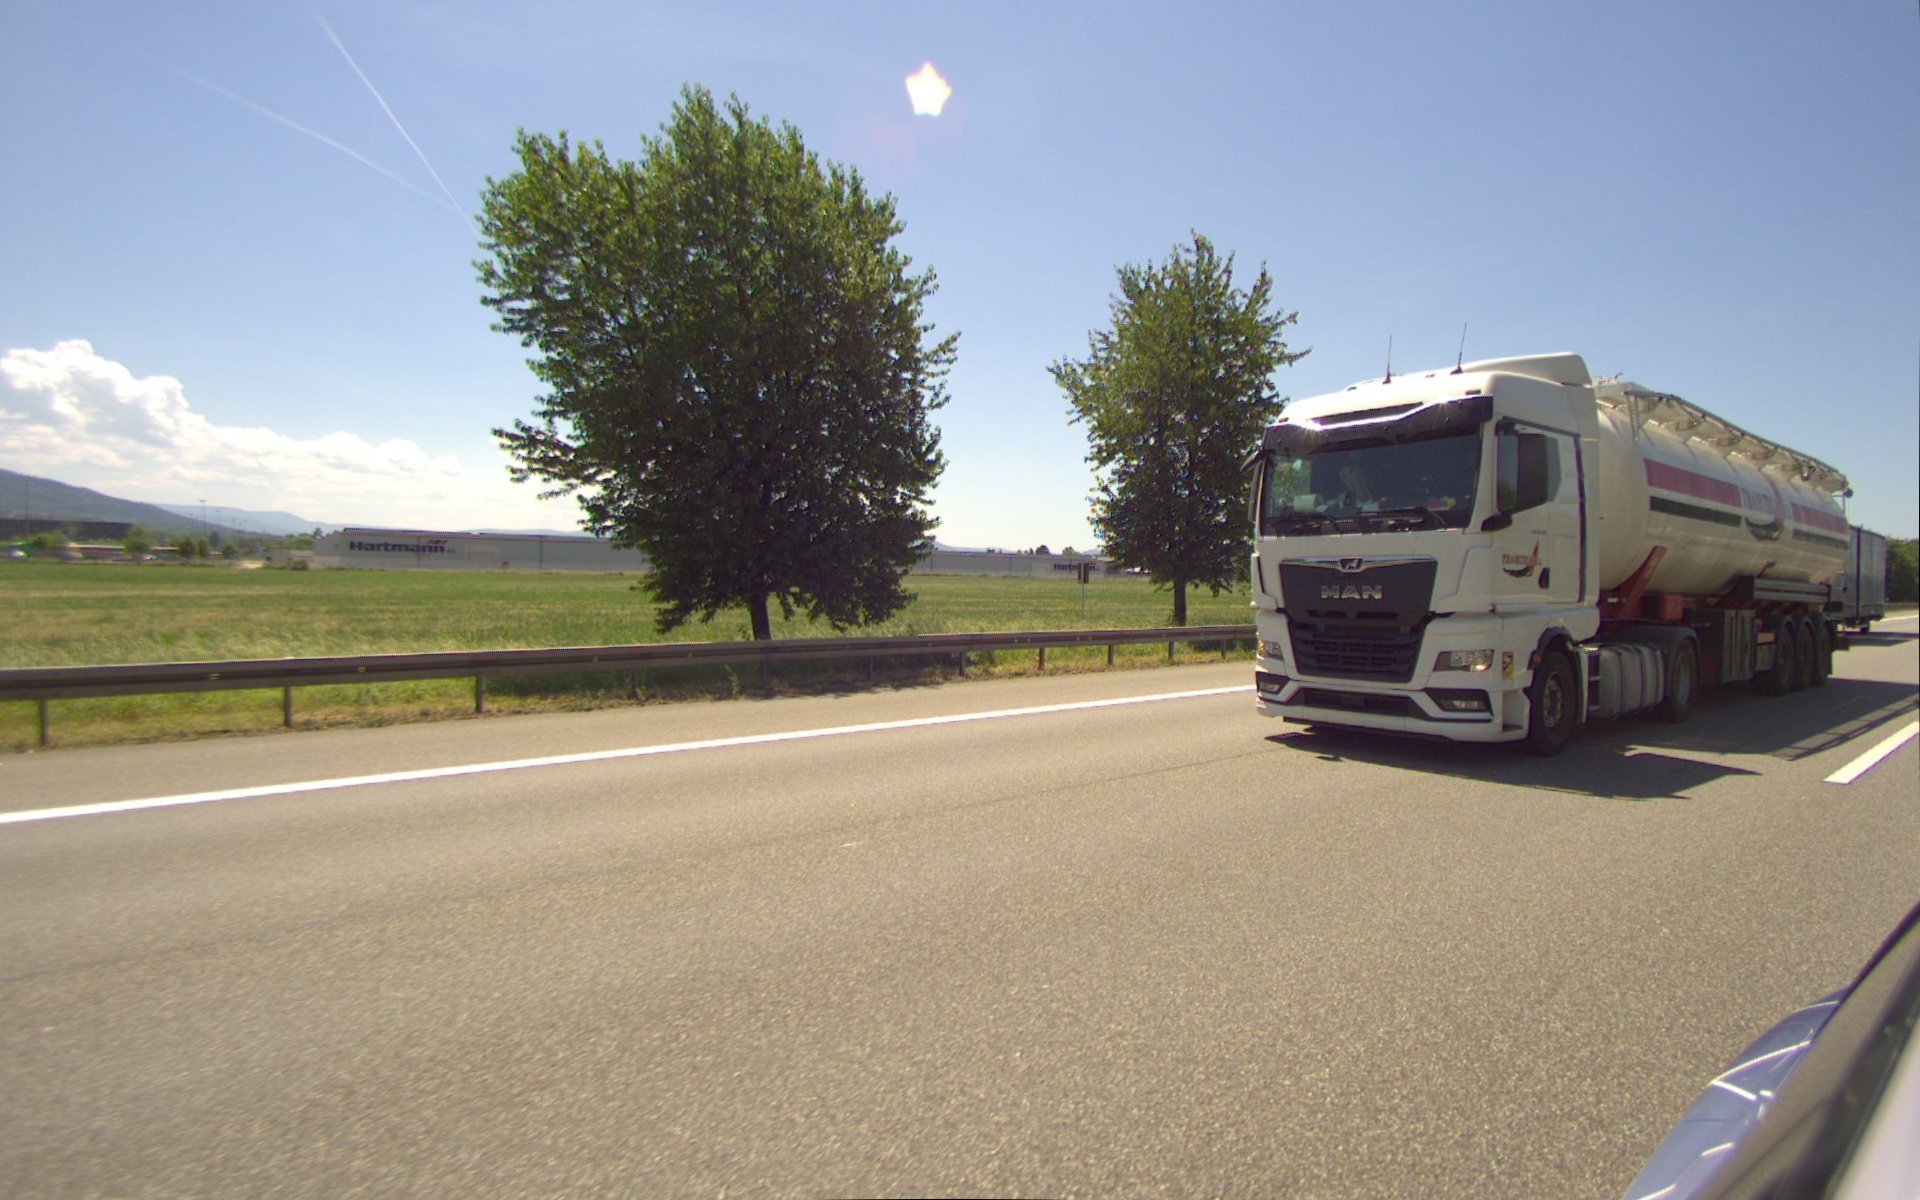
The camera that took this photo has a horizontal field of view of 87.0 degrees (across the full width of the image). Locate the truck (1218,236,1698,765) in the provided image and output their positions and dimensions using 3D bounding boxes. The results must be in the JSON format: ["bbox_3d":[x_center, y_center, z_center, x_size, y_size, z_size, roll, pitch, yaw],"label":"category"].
[{"bbox_3d":[5.426,-0.845,10.812,4.911,4.257,2.797,0,1,-40],"label":"truck"}]

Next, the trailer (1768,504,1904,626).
[{"bbox_3d":[34.616,-1.282,39.806,10.623,4.257,2.794,0,1,-43],"label":"trailer"}]

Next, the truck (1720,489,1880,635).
[{"bbox_3d":[28.598,-1.169,34.201,10.624,4.257,2.794,0,1,-43],"label":"truck"}]

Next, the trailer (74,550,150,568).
[{"bbox_3d":[-158.129,-7.574,188.936,10.758,3.186,2.001,0,1,-33],"label":"trailer"}]

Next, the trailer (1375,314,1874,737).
[{"bbox_3d":[10.643,-0.818,15.168,12.133,4.257,2.796,0,1,-40],"label":"trailer"}]

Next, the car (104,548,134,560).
[{"bbox_3d":[-146.882,-8.041,176.772,3.924,2.039,1.875,0,1,-35],"label":"car"}]

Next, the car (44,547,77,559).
[{"bbox_3d":[-153.210,-7.977,172.428,3.924,2.039,1.875,0,1,-35],"label":"car"}]
